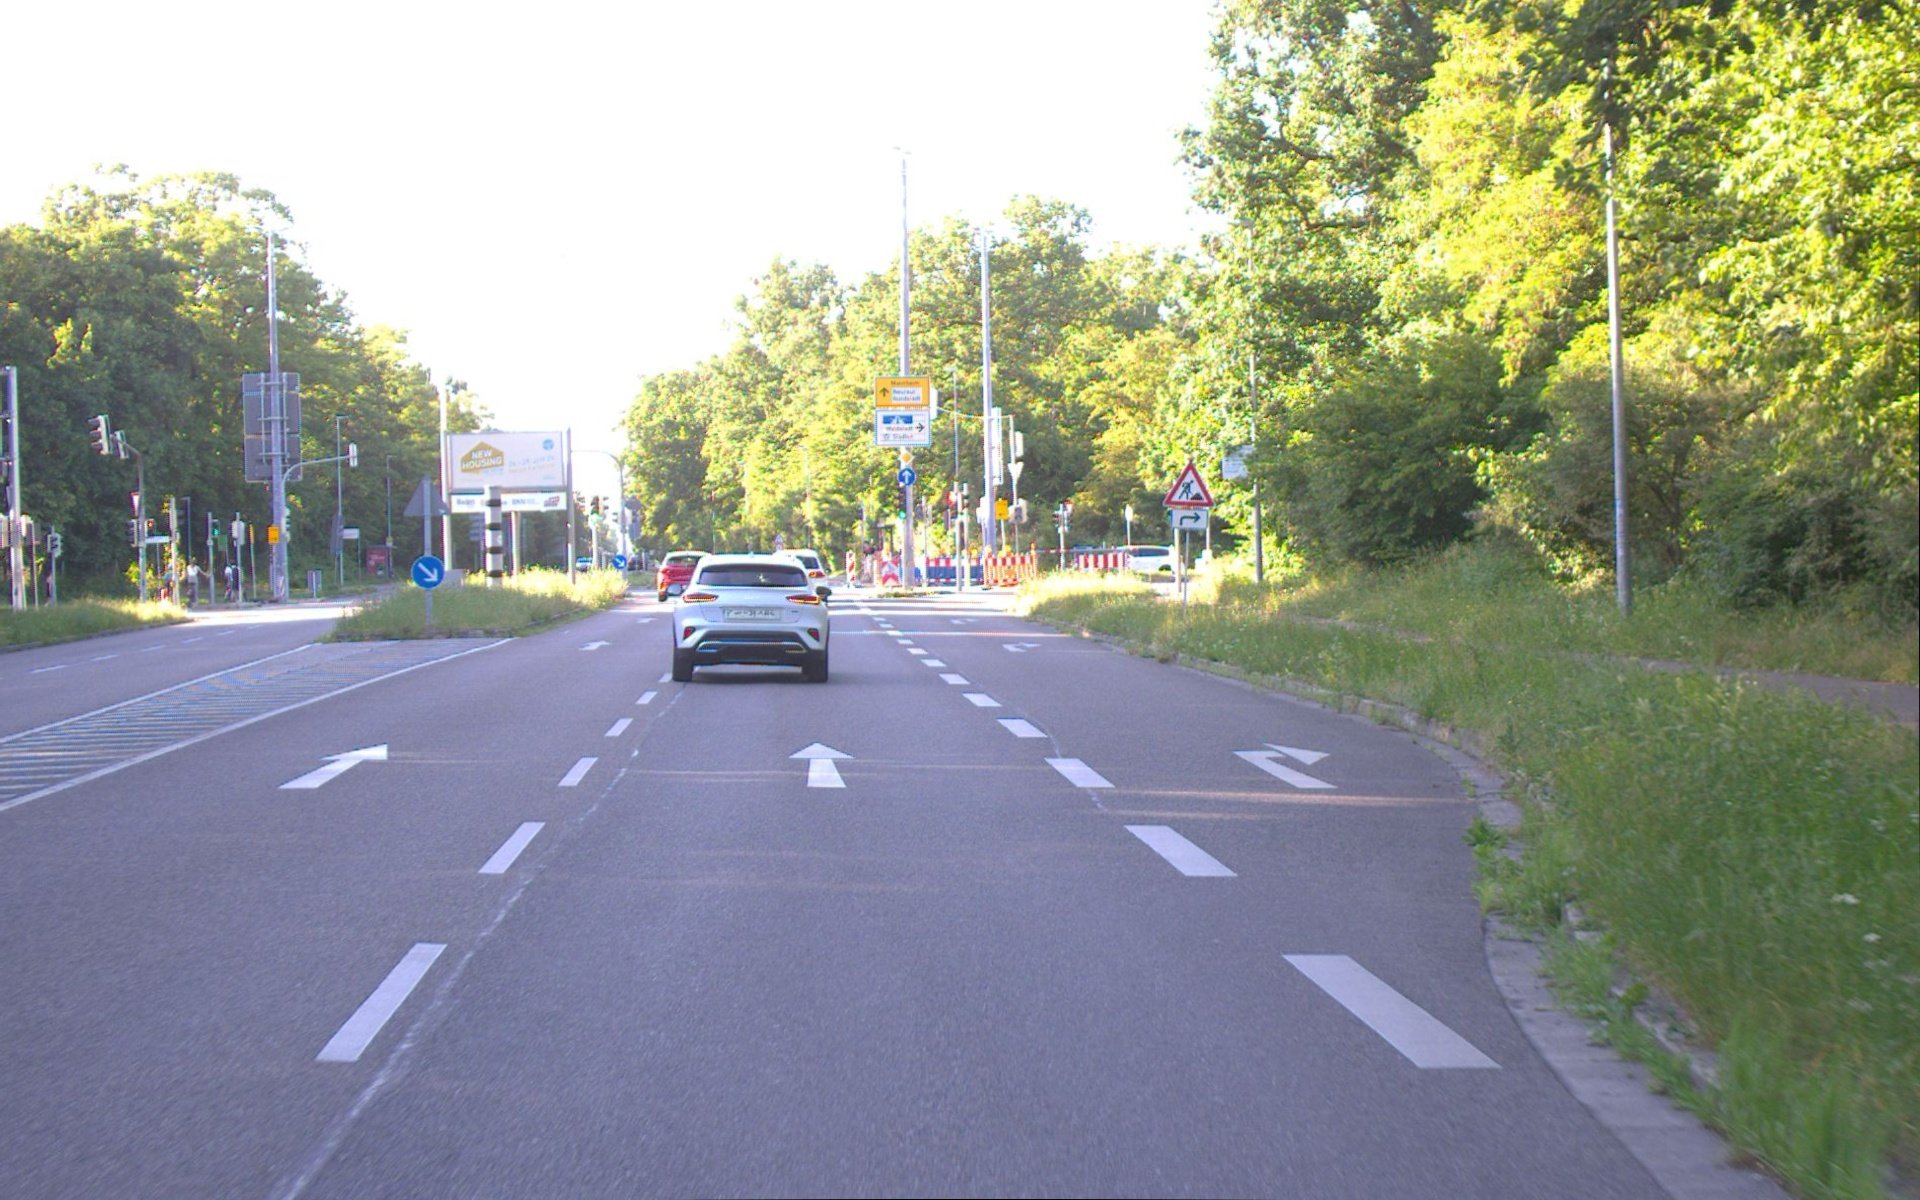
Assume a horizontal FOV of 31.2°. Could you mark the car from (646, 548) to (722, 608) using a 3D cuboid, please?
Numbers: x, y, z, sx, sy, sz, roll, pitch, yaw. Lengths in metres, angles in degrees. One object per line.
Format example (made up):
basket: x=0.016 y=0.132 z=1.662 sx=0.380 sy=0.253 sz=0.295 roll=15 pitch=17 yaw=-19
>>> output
car: x=-8.072 y=-0.653 z=100.219 sx=1.993 sy=1.679 sz=4.001 roll=-1 pitch=1 yaw=-7

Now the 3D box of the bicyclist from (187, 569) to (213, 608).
bicyclist: x=-27.810 y=-0.429 z=125.857 sx=0.710 sy=1.385 sz=0.990 roll=-1 pitch=1 yaw=0

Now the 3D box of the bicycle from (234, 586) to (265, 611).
bicycle: x=-26.630 y=-0.057 z=128.883 sx=0.715 sy=0.911 sz=1.911 roll=-1 pitch=1 yaw=0

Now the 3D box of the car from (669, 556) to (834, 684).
car: x=-2.486 y=0.203 z=41.077 sx=1.863 sy=1.439 sz=4.001 roll=0 pitch=1 yaw=-3

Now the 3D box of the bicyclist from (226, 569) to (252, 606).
bicyclist: x=-26.596 y=-0.457 z=126.783 sx=0.715 sy=1.351 sz=0.990 roll=-1 pitch=1 yaw=0

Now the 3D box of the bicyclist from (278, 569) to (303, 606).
bicyclist: x=-24.712 y=-0.463 z=126.860 sx=0.715 sy=1.334 sz=0.990 roll=-1 pitch=1 yaw=0

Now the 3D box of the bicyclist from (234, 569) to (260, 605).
bicyclist: x=-26.640 y=-0.489 z=128.420 sx=0.715 sy=1.337 sz=0.990 roll=-1 pitch=1 yaw=0

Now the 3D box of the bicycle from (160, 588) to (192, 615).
bicycle: x=-28.708 y=0.062 z=125.930 sx=0.715 sy=0.911 sz=1.911 roll=-1 pitch=2 yaw=0

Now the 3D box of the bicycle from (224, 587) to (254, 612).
bicycle: x=-26.589 y=-0.025 z=126.791 sx=0.715 sy=0.911 sz=1.911 roll=-1 pitch=1 yaw=0

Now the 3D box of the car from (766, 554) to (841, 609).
car: x=-4.228 y=-0.503 z=92.954 sx=1.940 sy=1.409 sz=4.000 roll=-1 pitch=1 yaw=-2

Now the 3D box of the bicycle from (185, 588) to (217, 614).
bicycle: x=-27.796 y=0.051 z=125.896 sx=0.715 sy=0.911 sz=1.911 roll=-1 pitch=1 yaw=0

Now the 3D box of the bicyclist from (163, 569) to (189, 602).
bicyclist: x=-28.722 y=-0.528 z=125.924 sx=0.715 sy=1.188 sz=0.990 roll=-1 pitch=1 yaw=0

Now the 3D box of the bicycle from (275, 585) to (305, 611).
bicycle: x=-24.707 y=-0.070 z=126.805 sx=0.715 sy=0.911 sz=1.911 roll=-1 pitch=1 yaw=0

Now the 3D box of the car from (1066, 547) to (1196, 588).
car: x=6.885 y=-1.308 z=138.087 sx=4.817 sy=1.575 sz=2.000 roll=-1 pitch=1 yaw=-24

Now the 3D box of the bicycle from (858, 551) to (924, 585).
bicycle: x=-2.851 y=-1.331 z=141.848 sx=2.632 sy=1.378 sz=0.968 roll=-1 pitch=1 yaw=-35
